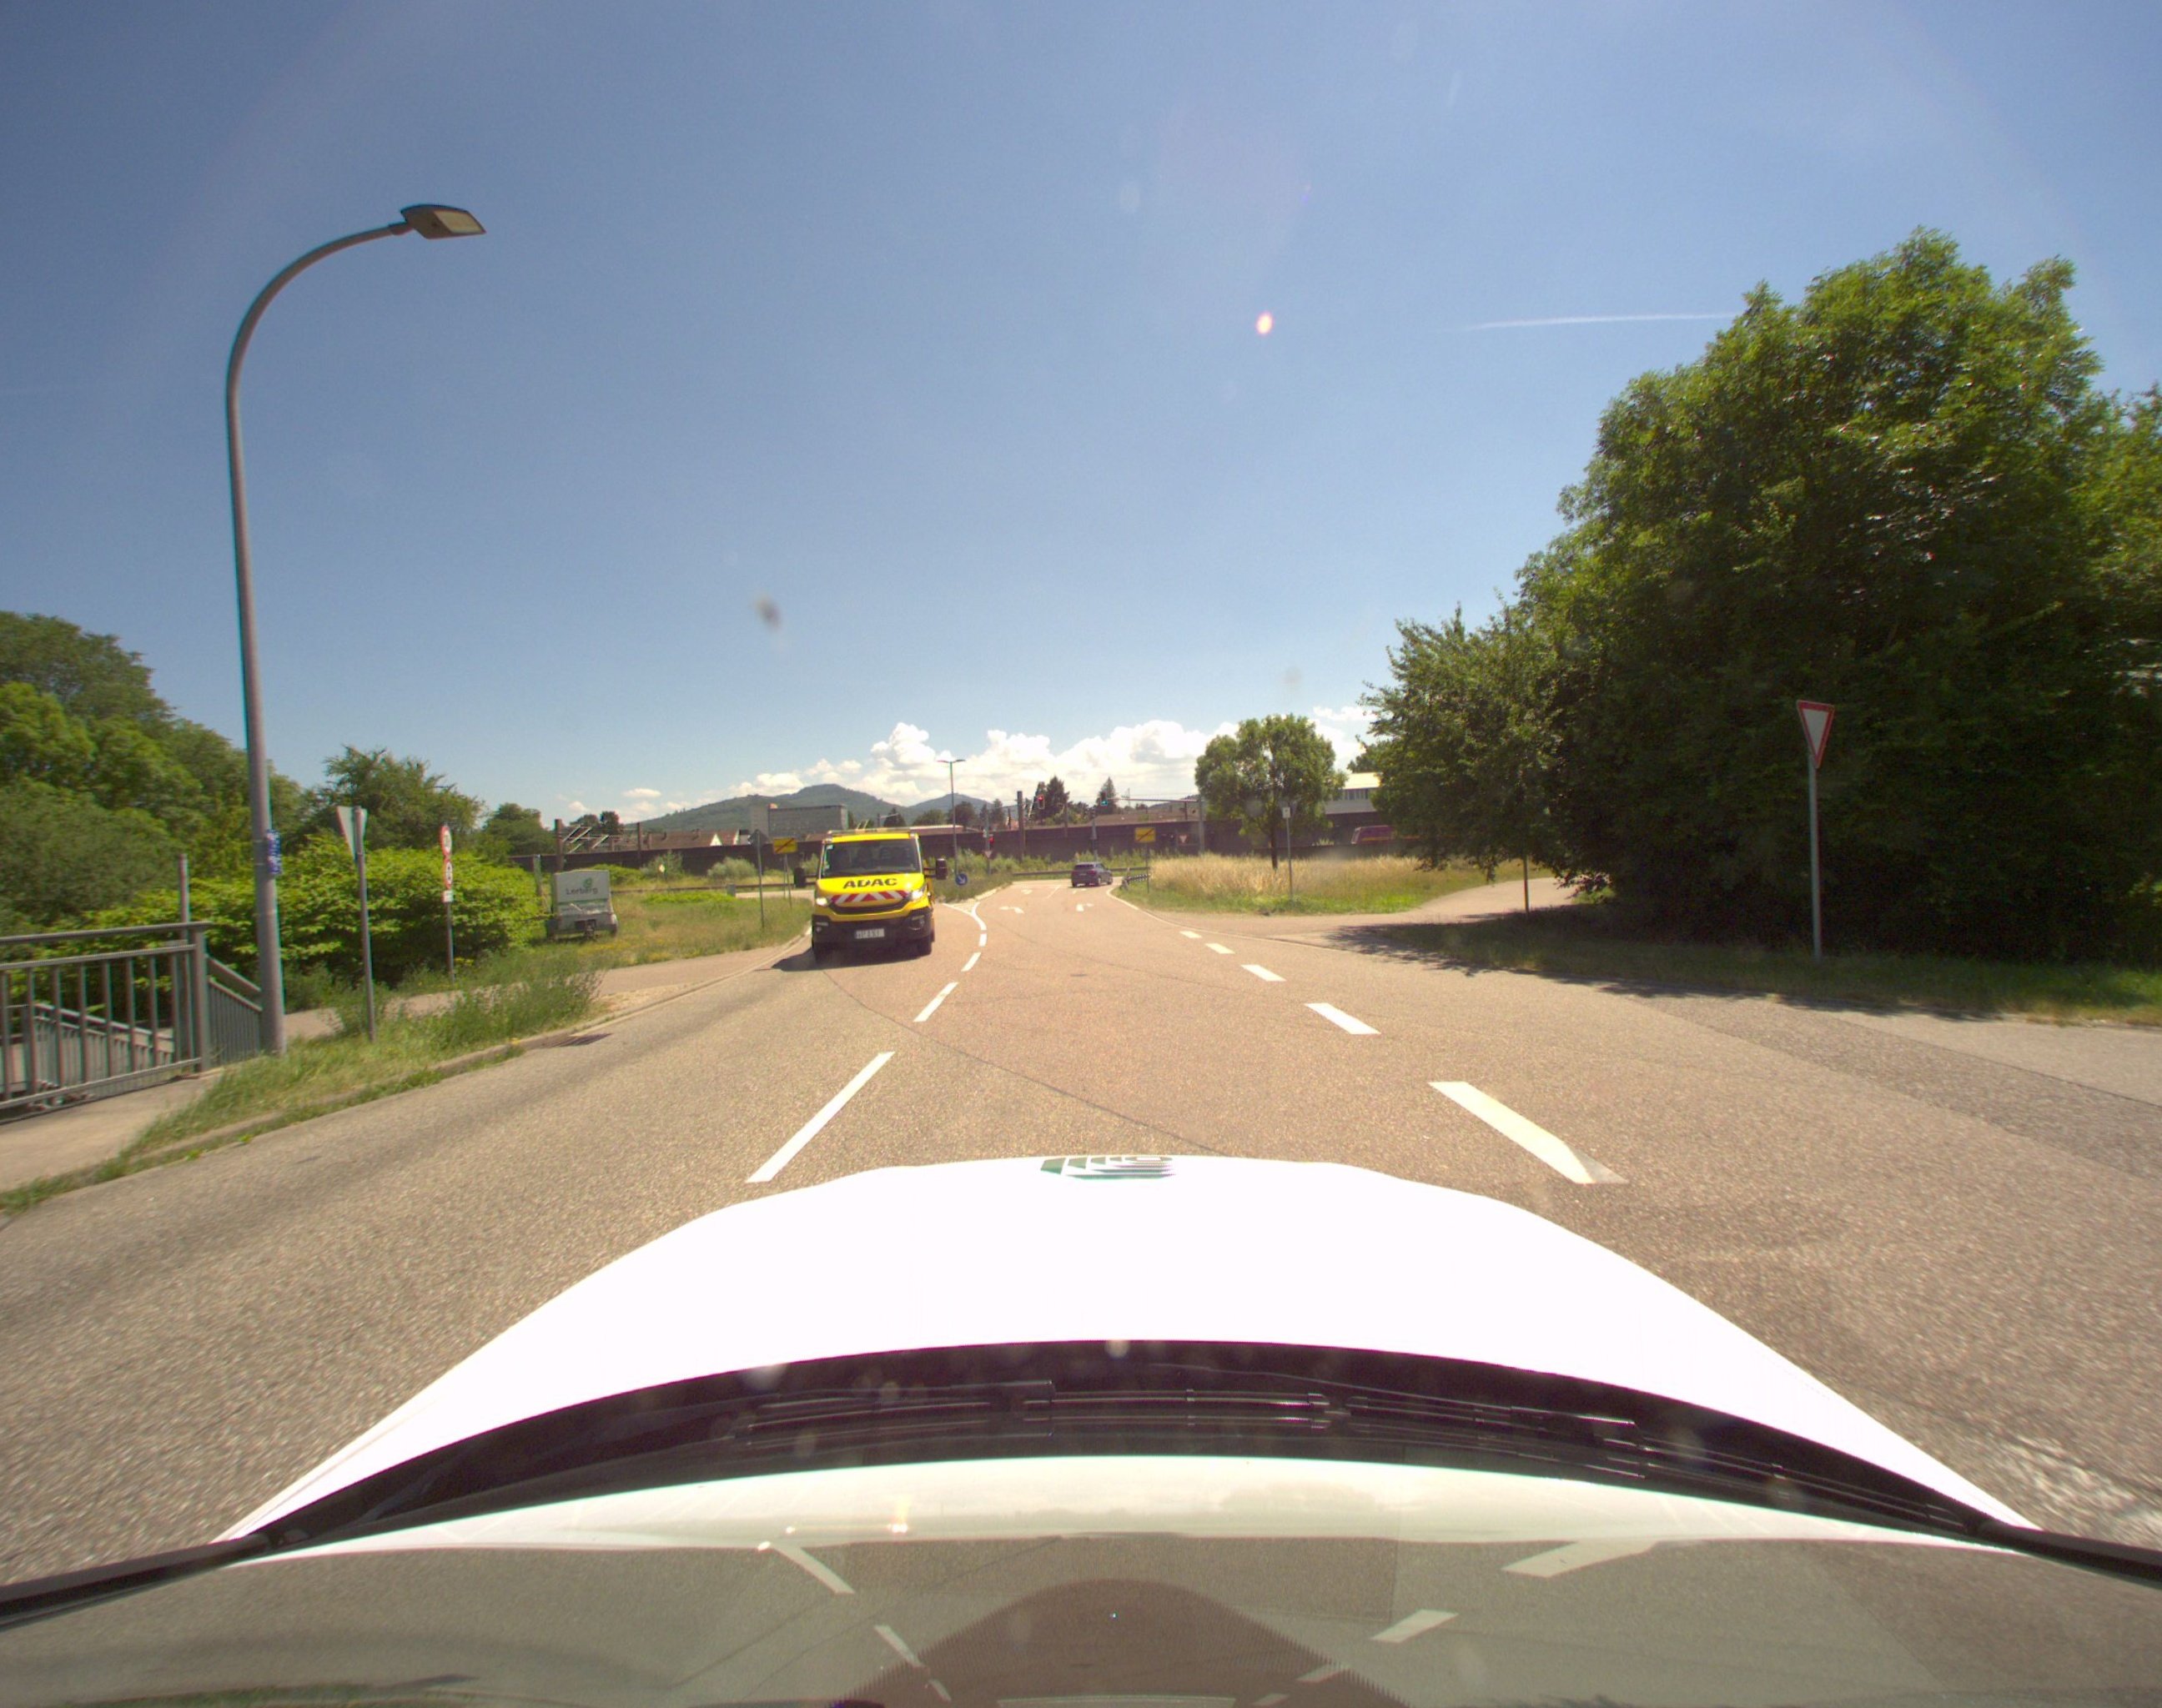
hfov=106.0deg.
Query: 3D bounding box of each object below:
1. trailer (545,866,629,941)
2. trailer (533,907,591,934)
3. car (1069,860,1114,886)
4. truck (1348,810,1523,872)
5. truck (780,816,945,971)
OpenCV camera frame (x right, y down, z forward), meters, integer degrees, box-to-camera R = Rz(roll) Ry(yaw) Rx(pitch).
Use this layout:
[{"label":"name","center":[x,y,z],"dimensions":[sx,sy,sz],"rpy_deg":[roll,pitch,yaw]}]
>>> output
[{"label":"trailer","center":[-14.909,1.416,24.496],"dimensions":[1.864,2.014,3.916],"rpy_deg":[-1,-1,-35]},{"label":"trailer","center":[-18.178,2.297,28.480],"dimensions":[1.572,0.738,2.821],"rpy_deg":[-1,-1,-35]},{"label":"car","center":[0.741,1.202,52.808],"dimensions":[1.979,1.503,4.016],"rpy_deg":[-1,0,14]},{"label":"truck","center":[26.698,-0.941,61.796],"dimensions":[11.707,4.180,3.011],"rpy_deg":[-2,-1,6]},{"label":"truck","center":[-4.295,0.721,17.740],"dimensions":[2.310,2.337,9.022],"rpy_deg":[-4,-1,-9]}]
